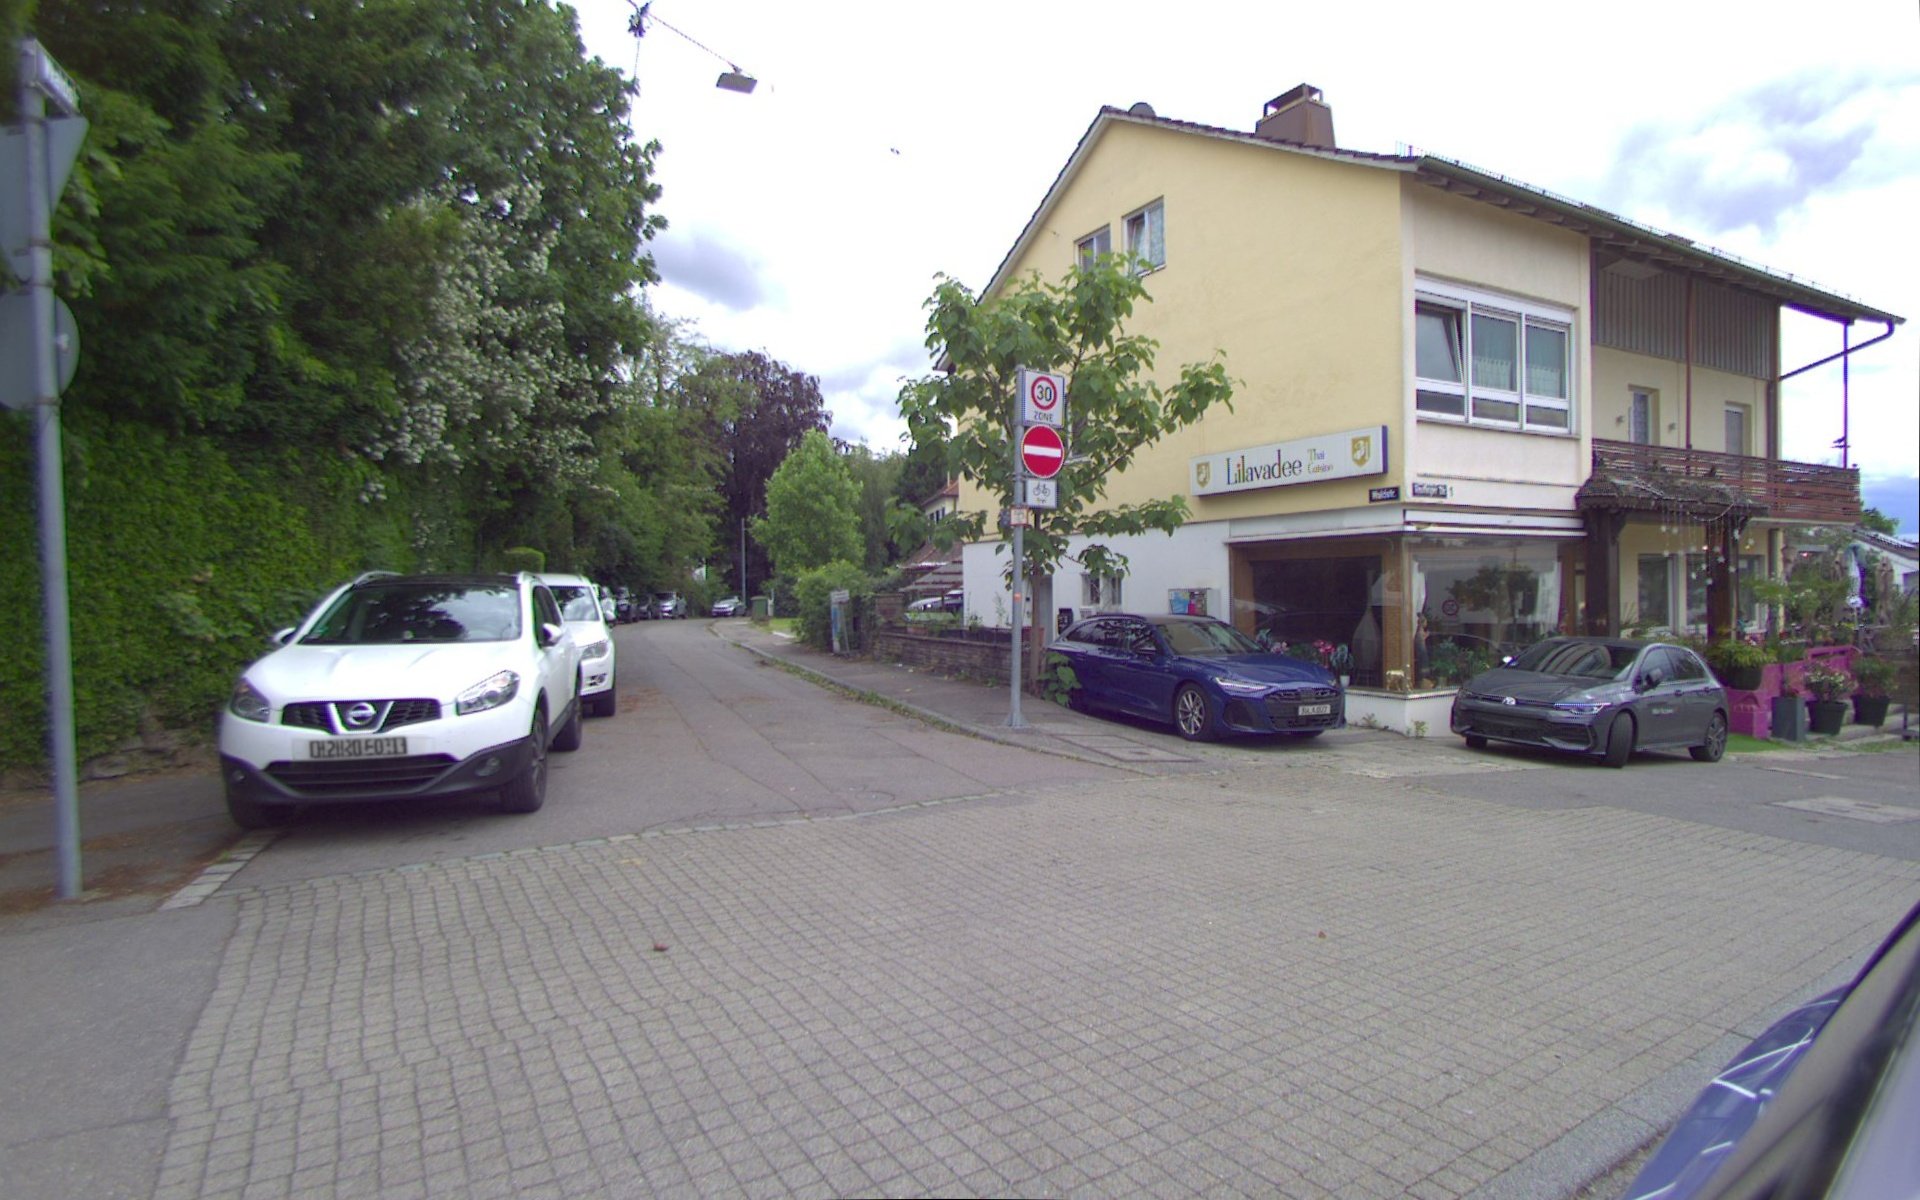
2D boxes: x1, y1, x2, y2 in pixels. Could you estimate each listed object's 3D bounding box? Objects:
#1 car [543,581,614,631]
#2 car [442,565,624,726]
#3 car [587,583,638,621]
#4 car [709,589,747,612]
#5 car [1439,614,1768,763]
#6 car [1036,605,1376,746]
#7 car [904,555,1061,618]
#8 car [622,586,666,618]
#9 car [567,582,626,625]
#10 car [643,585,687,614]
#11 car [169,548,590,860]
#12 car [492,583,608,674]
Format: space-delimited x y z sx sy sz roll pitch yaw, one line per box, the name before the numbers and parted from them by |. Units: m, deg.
car | -12.222 0.141 32.591 1.542 1.502 3.745 -1 1 -11
car | -5.181 0.440 12.609 1.761 1.643 4.080 -1 1 -20
car | -14.212 0.046 41.525 1.542 1.502 3.481 -1 1 -11
car | -16.354 0.025 71.456 1.547 1.502 3.468 0 1 7
car | 7.939 1.075 12.372 4.242 1.480 1.800 5 -2 -34
car | 2.910 0.837 13.211 1.761 1.405 4.758 2 0 -23
car | 0.655 -0.371 30.255 4.235 1.480 1.802 4 -2 -19
car | -15.922 0.074 51.112 1.542 1.502 3.479 -1 1 -8
car | -13.428 0.105 37.545 1.542 1.502 3.481 -1 1 -11
car | -16.246 -0.042 55.794 1.543 1.502 3.476 0 1 -3
car | -3.871 0.515 7.554 1.761 1.643 4.144 -1 1 -16
car | -7.415 0.423 18.546 1.761 1.441 4.080 -1 1 -20
